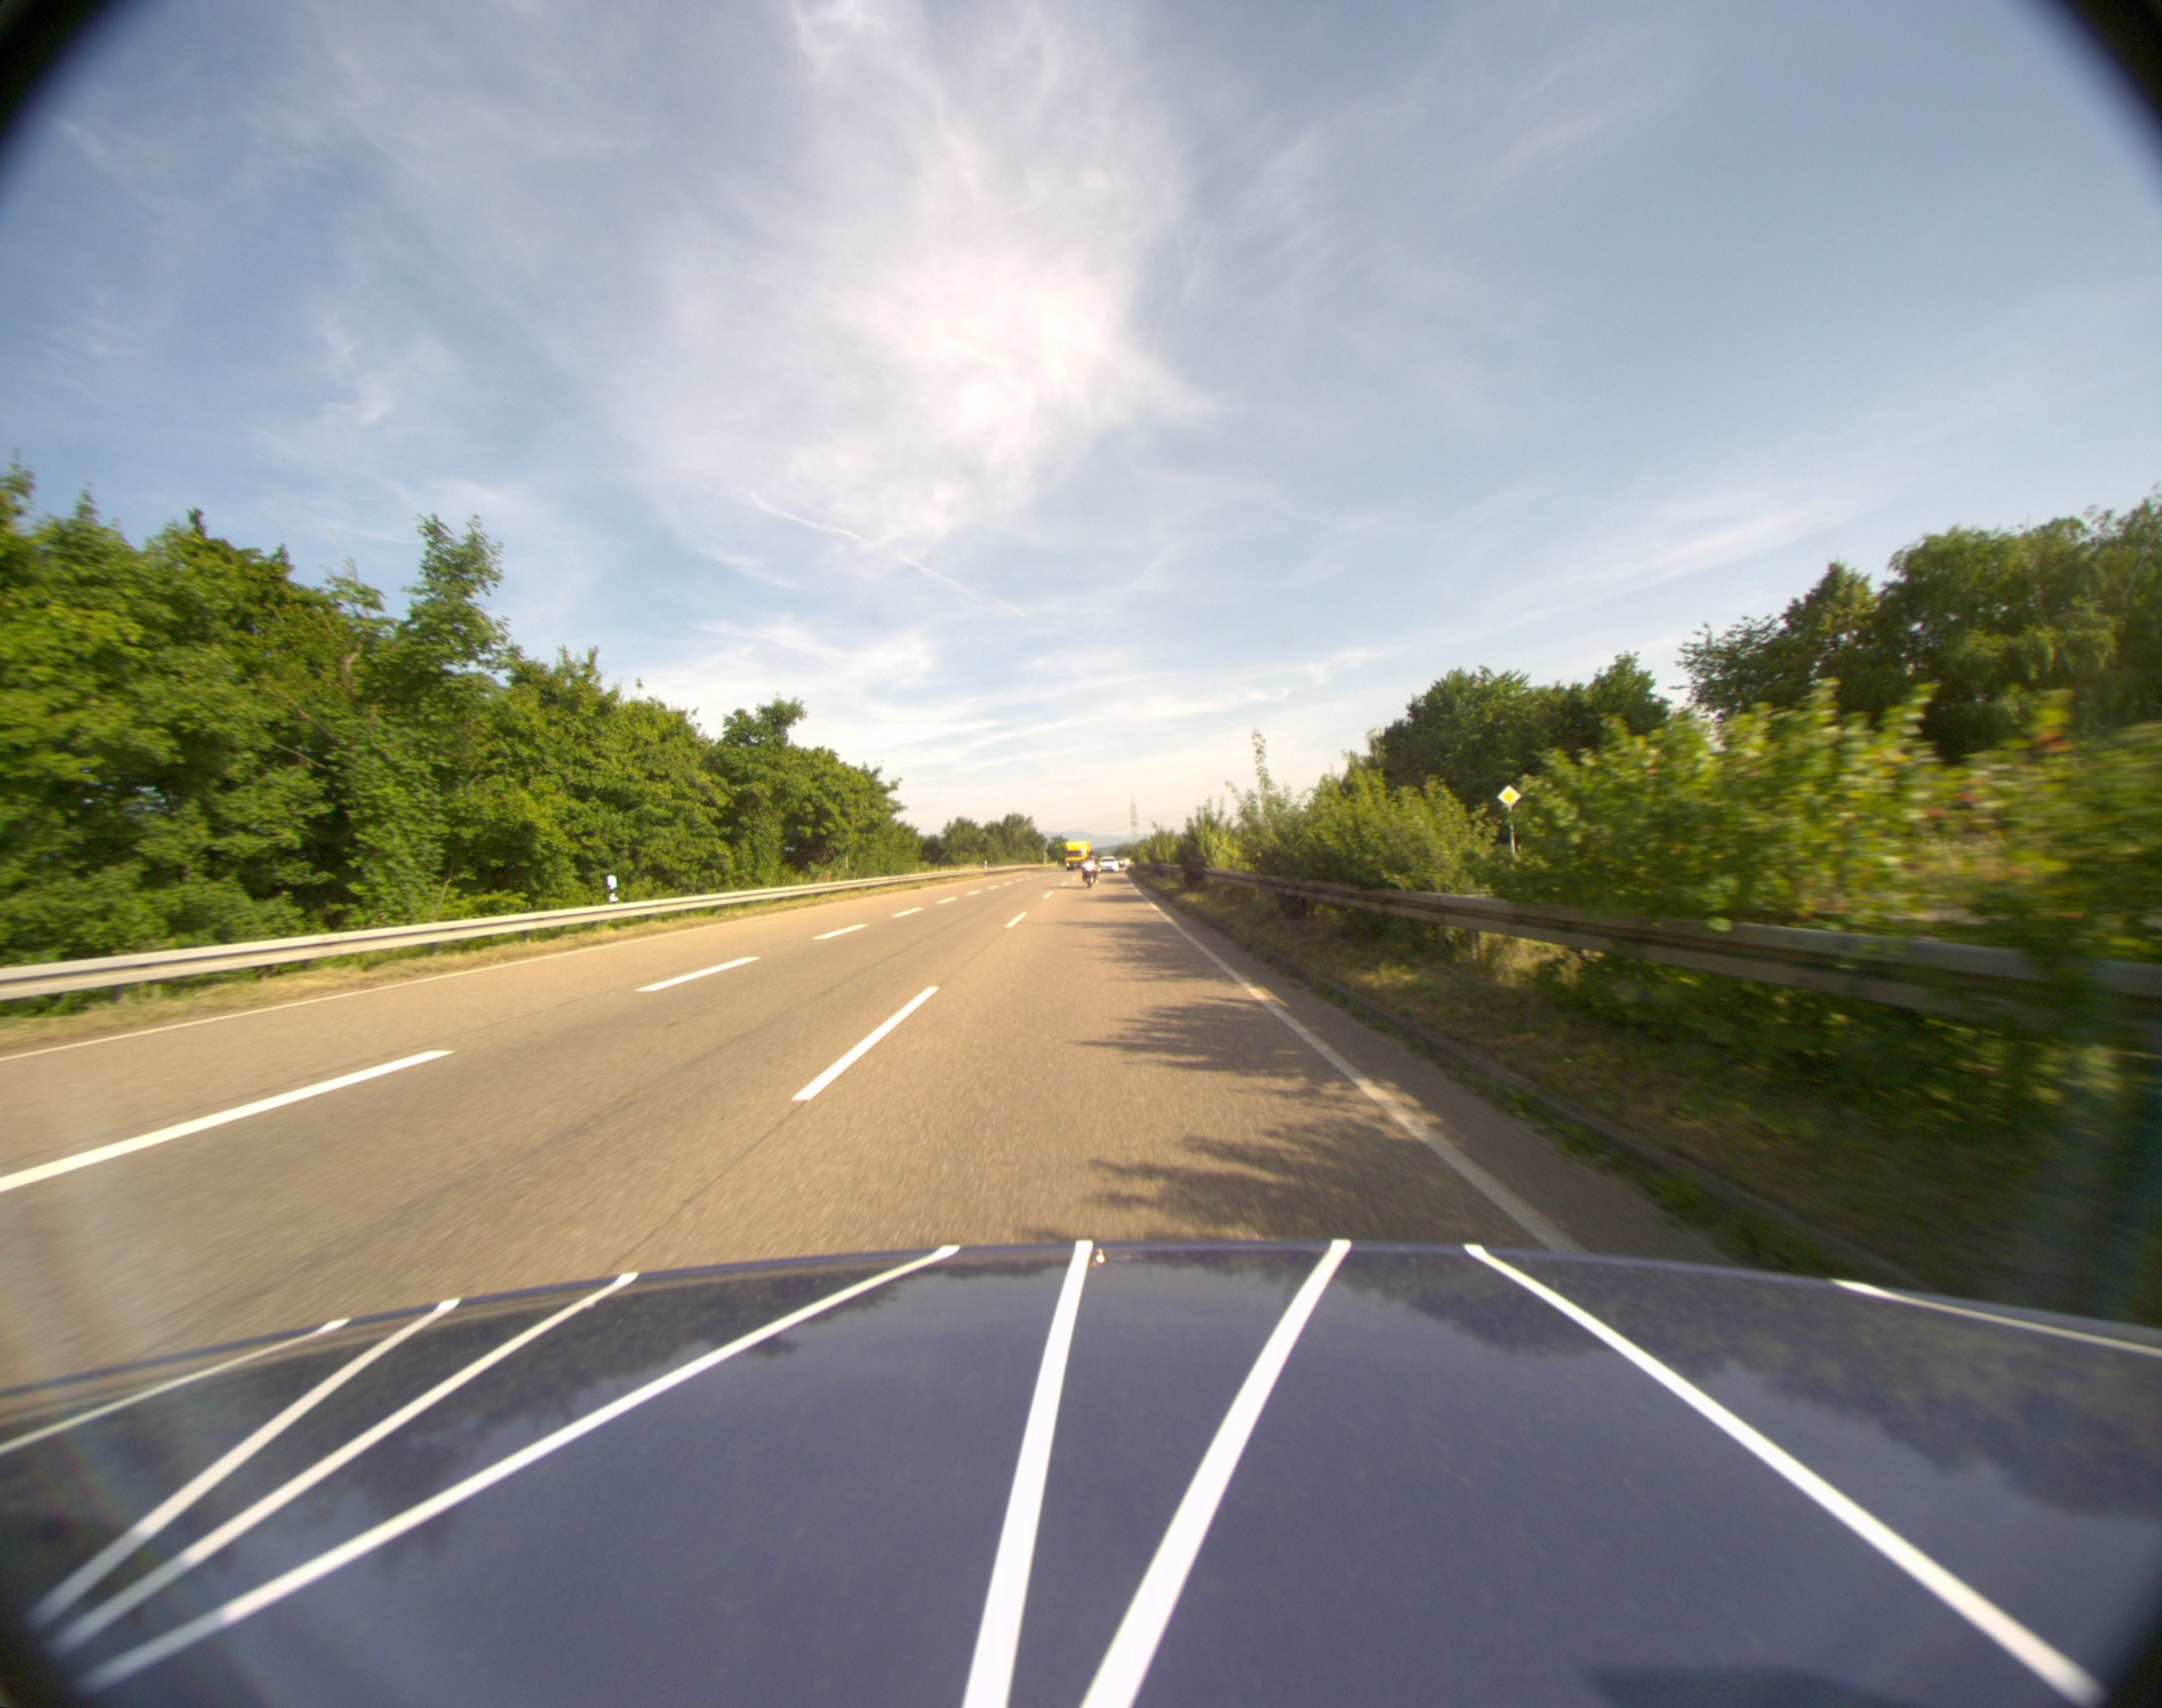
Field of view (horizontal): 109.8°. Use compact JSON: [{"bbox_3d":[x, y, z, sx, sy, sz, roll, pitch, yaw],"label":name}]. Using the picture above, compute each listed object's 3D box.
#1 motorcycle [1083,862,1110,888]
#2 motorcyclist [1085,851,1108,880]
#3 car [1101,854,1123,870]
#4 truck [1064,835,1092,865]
[{"bbox_3d":[0.766,0.979,36.342,0.936,1.131,2.584,-1,0,8],"label":"motorcycle"},{"bbox_3d":[0.753,0.558,36.316,0.936,1.344,1.143,-1,1,8],"label":"motorcyclist"},{"bbox_3d":[2.908,0.725,70.671,1.868,1.454,4.085,-2,0,5],"label":"car"},{"bbox_3d":[-0.237,-0.371,91.787,2.785,3.297,10.492,-2,-1,3],"label":"truck"}]
